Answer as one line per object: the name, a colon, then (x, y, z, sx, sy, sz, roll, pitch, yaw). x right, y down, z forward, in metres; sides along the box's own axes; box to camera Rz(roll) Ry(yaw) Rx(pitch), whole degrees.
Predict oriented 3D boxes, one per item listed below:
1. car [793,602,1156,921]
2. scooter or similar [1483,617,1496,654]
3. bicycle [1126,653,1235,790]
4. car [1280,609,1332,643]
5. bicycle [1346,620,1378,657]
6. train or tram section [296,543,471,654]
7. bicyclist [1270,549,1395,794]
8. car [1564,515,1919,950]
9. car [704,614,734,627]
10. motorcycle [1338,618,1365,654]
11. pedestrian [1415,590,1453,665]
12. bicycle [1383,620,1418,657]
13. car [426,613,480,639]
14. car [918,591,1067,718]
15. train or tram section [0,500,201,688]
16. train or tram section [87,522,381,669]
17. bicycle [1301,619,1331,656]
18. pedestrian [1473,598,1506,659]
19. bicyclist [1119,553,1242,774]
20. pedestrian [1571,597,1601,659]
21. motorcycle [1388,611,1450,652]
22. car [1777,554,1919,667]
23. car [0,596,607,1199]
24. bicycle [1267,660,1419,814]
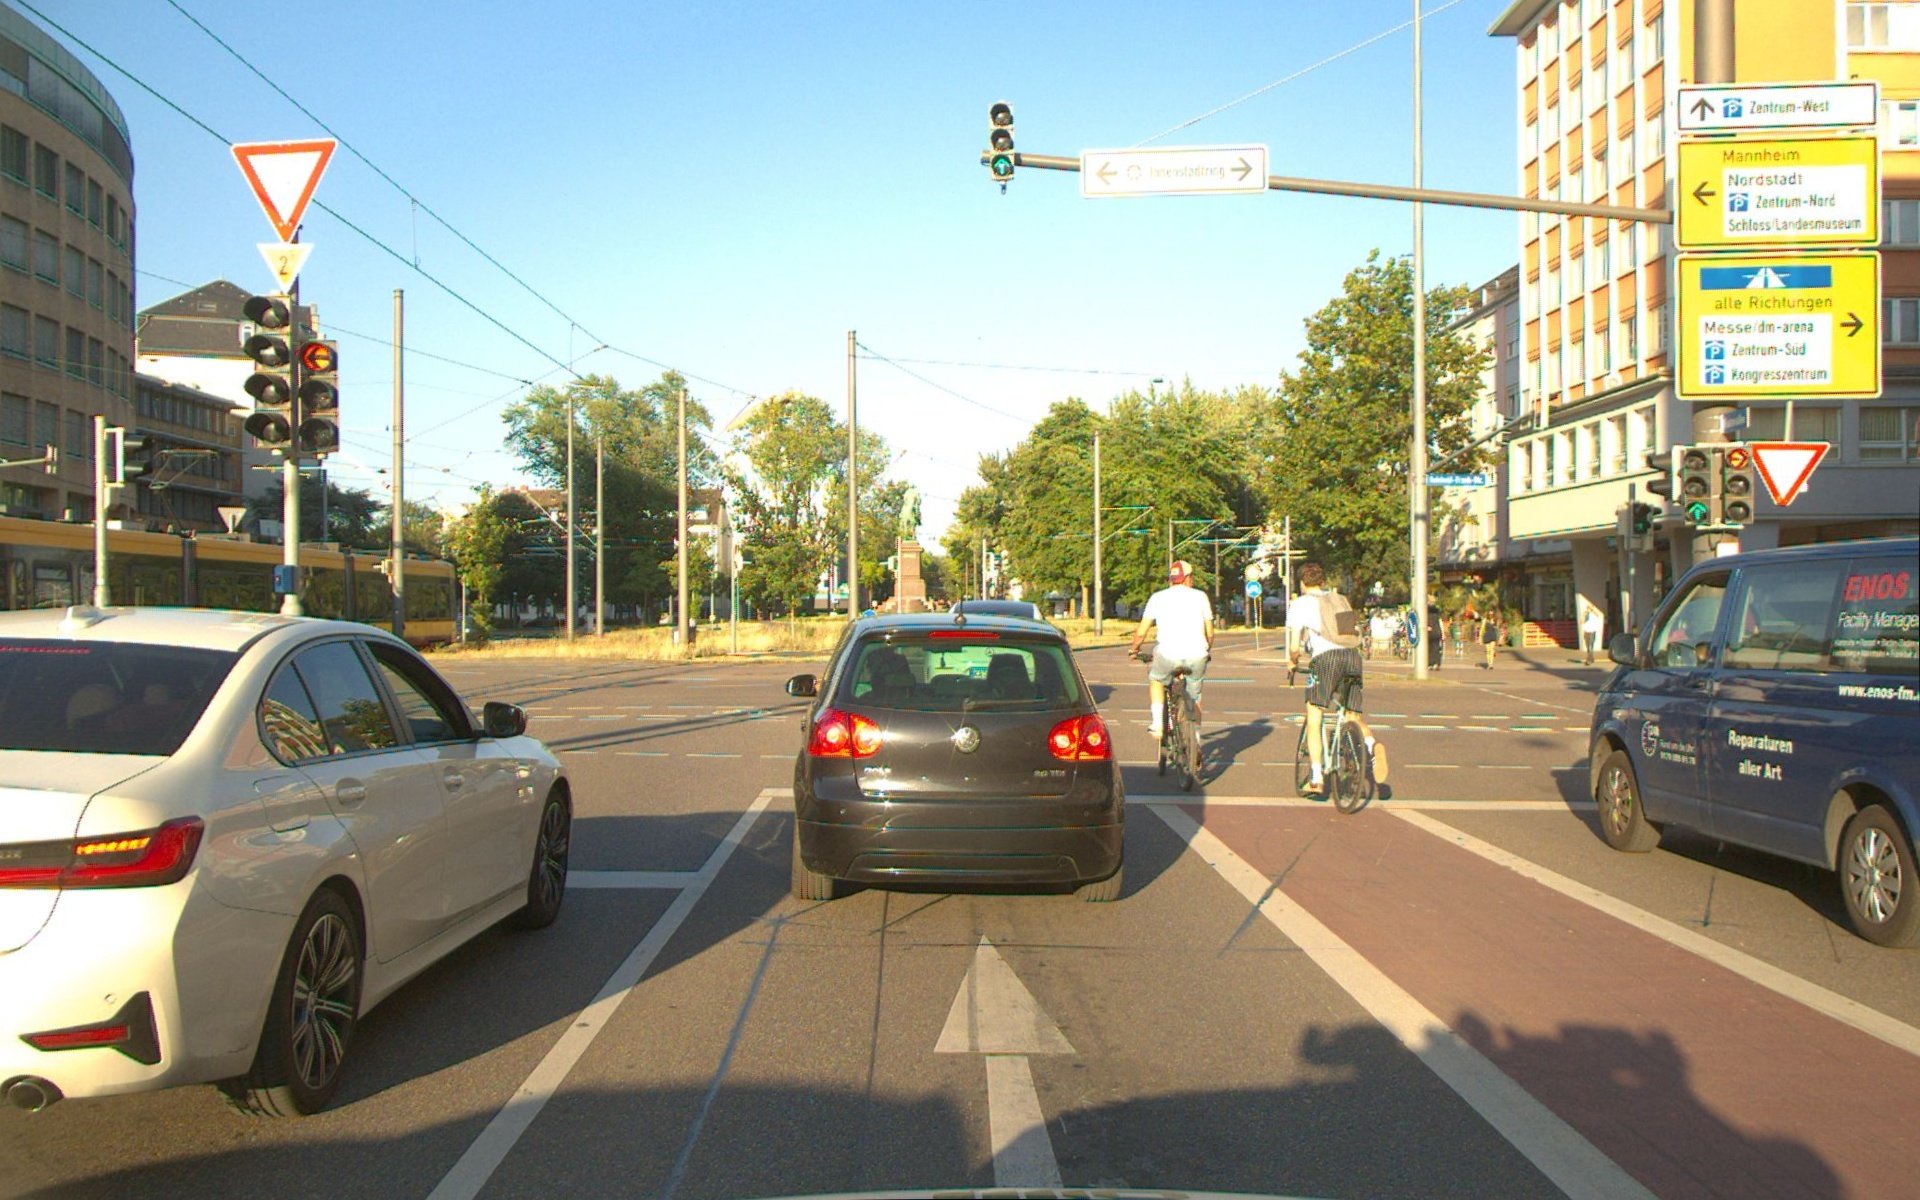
car: (-0.097, 0.762, 9.835, 1.713, 1.486, 4.099, 0, 0, -5)
scooter or similar: (18.168, 1.211, 56.773, 0.406, 1.276, 1.183, 0, 0, 19)
bicycle: (1.881, 1.011, 14.330, 0.469, 1.046, 1.978, 0, 0, -6)
car: (16.515, 1.208, 78.856, 1.693, 1.498, 3.898, -3, -1, 23)
bicycle: (13.361, 1.265, 55.004, 0.631, 1.146, 1.874, 0, 1, 1)
train or tram section: (-20.223, -0.019, 58.842, 2.717, 3.598, 10.568, 0, 0, -1)
bicyclist: (2.893, 0.538, 12.929, 0.661, 1.839, 0.992, 0, -1, -7)
car: (5.264, 0.599, 9.330, 1.897, 1.967, 4.831, 0, 0, -1)
car: (-27.593, 2.330, 189.558, 3.272, 1.534, 1.657, 0, 0, -4)
motorcycle: (14.236, 1.292, 60.175, 0.652, 1.264, 2.202, 0, 0, 6)
pedestrian: (11.145, 0.627, 38.886, 0.648, 1.734, 1.072, 0, 0, 4)
bicycle: (14.648, 1.270, 55.003, 0.631, 1.178, 2.124, 0, 1, 1)
car: (-25.853, 1.310, 84.419, 1.612, 1.304, 3.739, 0, 0, 0)
car: (0.536, 0.677, 22.768, 1.826, 1.466, 4.199, -2, 1, 4)
train or tram section: (-19.723, -0.104, 33.608, 2.717, 3.598, 13.248, 0, 0, -1)
train or tram section: (-19.996, -0.083, 46.911, 2.717, 3.598, 13.248, 0, 0, -1)
bicycle: (11.821, 1.234, 54.947, 0.631, 1.146, 1.874, 0, 1, 1)
pedestrian: (14.019, 0.749, 43.806, 0.667, 1.617, 0.747, 0, 0, 4)
bicyclist: (1.890, 0.530, 14.309, 0.811, 1.839, 1.056, 0, -1, -7)
pedestrian: (17.783, 0.788, 47.005, 0.557, 1.731, 0.812, 0, 0, 1)
motorcycle: (16.153, 1.095, 58.211, 2.000, 1.431, 0.761, 0, 0, 7)
car: (21.823, 0.227, 38.019, 5.142, 2.526, 1.925, 0, 0, -1)
car: (-2.698, 0.733, 6.054, 1.800, 1.425, 4.583, 2, 0, 0)
bicycle: (2.932, 1.016, 12.844, 0.564, 1.046, 1.854, 0, 0, -7)
